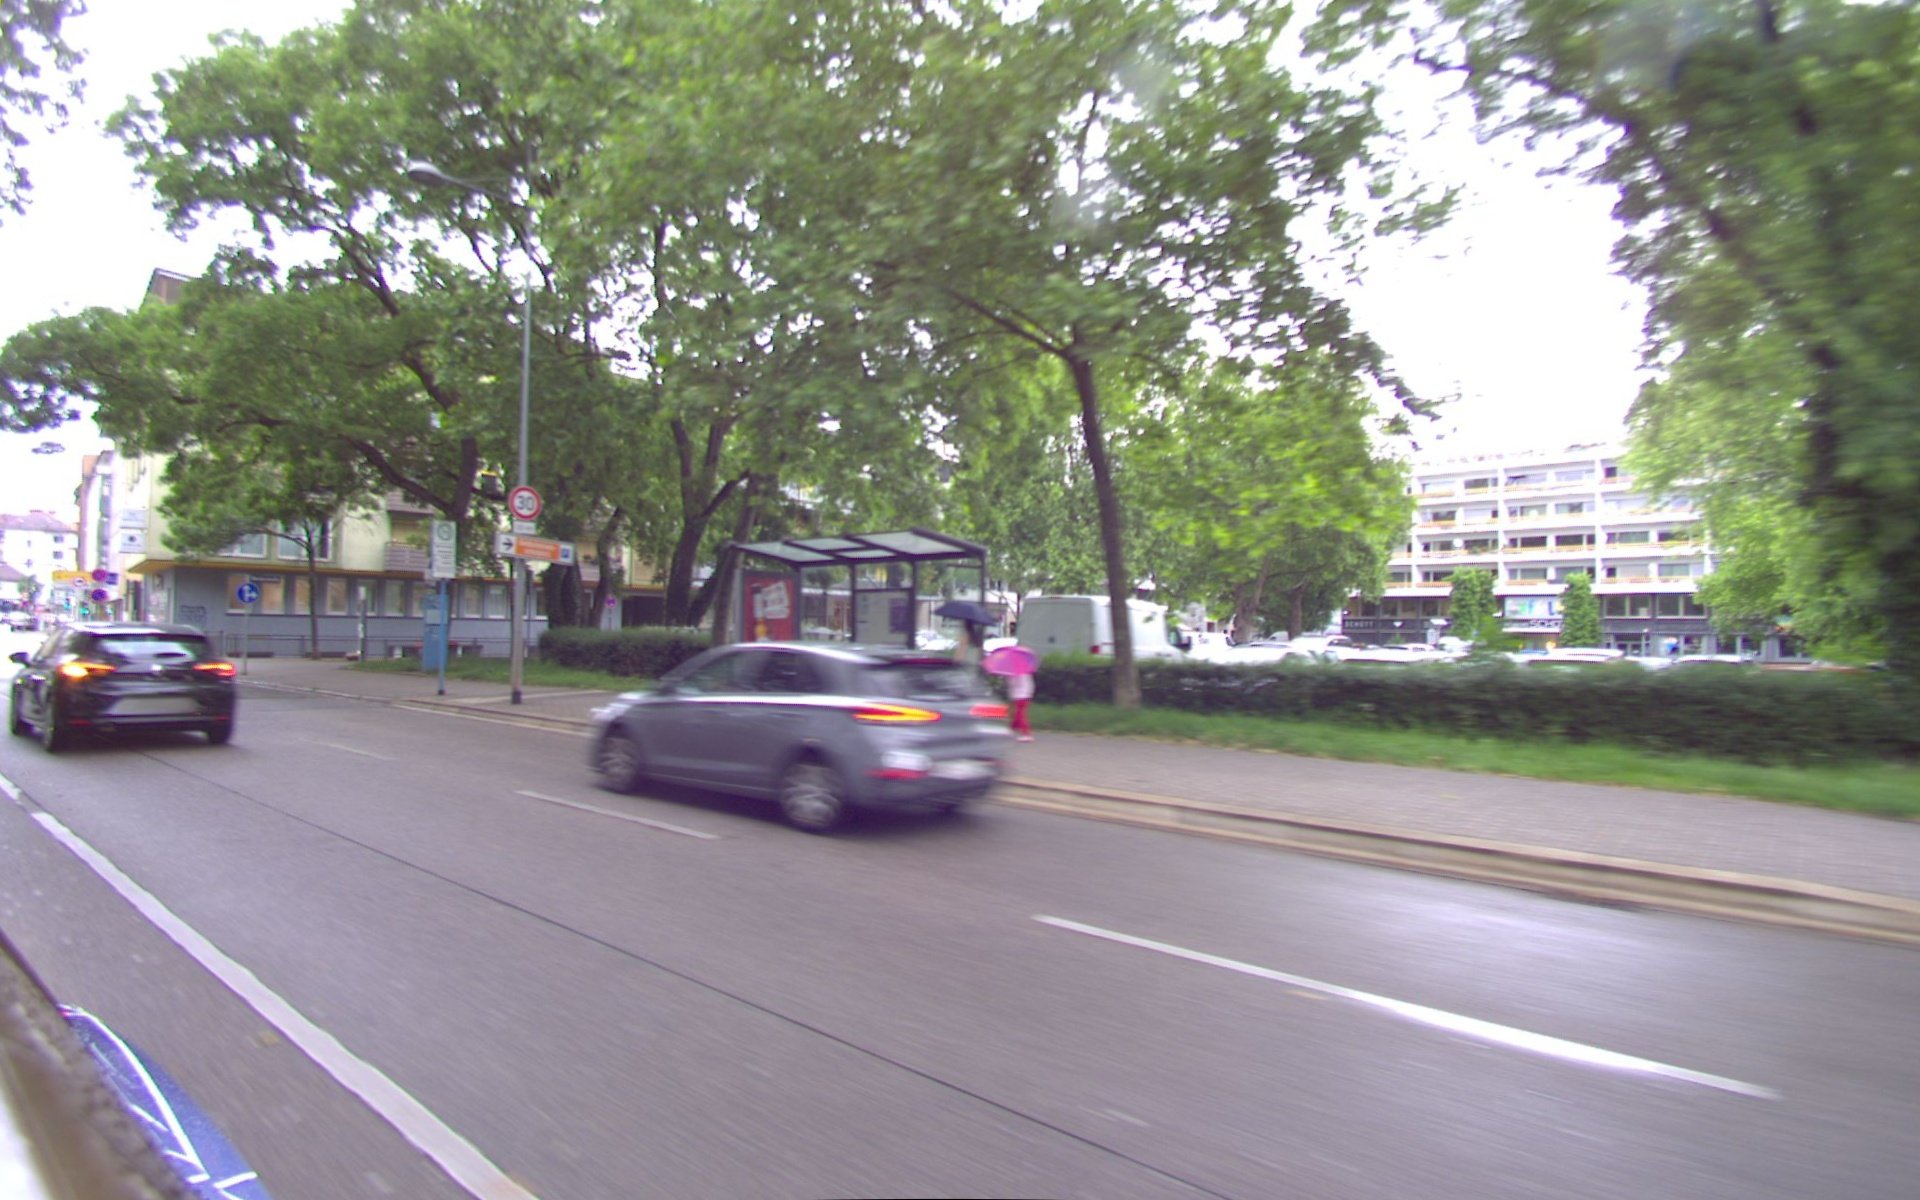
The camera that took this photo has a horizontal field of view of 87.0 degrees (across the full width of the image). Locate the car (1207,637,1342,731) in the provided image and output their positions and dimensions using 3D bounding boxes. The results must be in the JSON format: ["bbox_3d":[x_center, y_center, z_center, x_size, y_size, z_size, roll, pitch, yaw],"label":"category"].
[{"bbox_3d":[6.145,1.543,19.612,1.506,1.536,3.161,0,0,38],"label":"car"}]

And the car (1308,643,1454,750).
[{"bbox_3d":[7.094,1.521,16.912,1.506,1.536,3.161,0,-1,38],"label":"car"}]

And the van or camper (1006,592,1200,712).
[{"bbox_3d":[3.071,1.055,20.930,2.045,2.186,4.439,0,-3,38],"label":"van or camper"}]

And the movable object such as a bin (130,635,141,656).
[{"bbox_3d":[-42.611,2.353,52.303,0.409,1.037,0.354,4,-4,-42],"label":"movable object such as a bin"}]

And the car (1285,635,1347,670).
[{"bbox_3d":[15.767,2.323,44.729,1.604,1.439,3.275,-1,-3,39],"label":"car"}]

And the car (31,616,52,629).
[{"bbox_3d":[-124.922,3.117,137.661,4.001,1.670,1.842,-1,-4,44],"label":"car"}]

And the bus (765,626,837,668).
[{"bbox_3d":[-7.713,2.300,49.399,1.703,1.939,3.698,0,-3,23],"label":"bus"}]

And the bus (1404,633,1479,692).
[{"bbox_3d":[14.763,1.903,31.000,1.380,1.689,2.760,-1,-3,42],"label":"bus"}]

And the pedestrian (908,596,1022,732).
[{"bbox_3d":[0.066,0.835,13.868,1.208,1.755,0.982,-1,-1,40],"label":"pedestrian"}]

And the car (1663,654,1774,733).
[{"bbox_3d":[16.750,1.989,22.415,1.815,1.527,3.950,0,-3,37],"label":"car"}]

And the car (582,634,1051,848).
[{"bbox_3d":[-1.383,1.054,8.854,4.026,1.428,1.790,-1,-4,39],"label":"car"}]

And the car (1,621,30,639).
[{"bbox_3d":[-95.648,3.070,102.474,4.001,1.730,1.863,-1,-4,44],"label":"car"}]

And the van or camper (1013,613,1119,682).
[{"bbox_3d":[4.246,1.882,40.025,2.096,2.556,4.368,-1,-3,39],"label":"van or camper"}]

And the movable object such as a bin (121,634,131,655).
[{"bbox_3d":[-42.841,2.278,52.001,0.333,1.037,0.354,4,-4,-42],"label":"movable object such as a bin"}]

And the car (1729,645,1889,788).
[{"bbox_3d":[11.449,1.468,13.797,1.506,1.536,3.161,0,0,38],"label":"car"}]

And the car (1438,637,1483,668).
[{"bbox_3d":[27.592,2.859,55.776,1.638,1.536,3.161,0,0,38],"label":"car"}]

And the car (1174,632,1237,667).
[{"bbox_3d":[13.052,2.631,53.614,1.815,1.787,3.884,-1,-3,38],"label":"car"}]

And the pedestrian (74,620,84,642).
[{"bbox_3d":[-76.410,2.682,87.783,0.586,1.858,0.565,4,-4,-42],"label":"pedestrian"}]

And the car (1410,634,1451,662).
[{"bbox_3d":[29.120,2.940,62.552,1.638,1.536,3.161,-1,0,38],"label":"car"}]

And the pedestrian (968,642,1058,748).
[{"bbox_3d":[0.635,1.114,12.146,0.826,1.183,0.677,-1,-1,40],"label":"pedestrian"}]

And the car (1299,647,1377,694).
[{"bbox_3d":[12.439,2.301,33.225,1.391,1.446,3.227,-1,-4,41],"label":"car"}]

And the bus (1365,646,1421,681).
[{"bbox_3d":[20.472,2.968,47.796,1.604,1.551,3.385,-1,-3,39],"label":"bus"}]

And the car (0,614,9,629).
[{"bbox_3d":[-128.775,2.864,135.455,4.001,1.866,1.971,-1,-4,44],"label":"car"}]

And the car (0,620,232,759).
[{"bbox_3d":[-10.228,0.980,12.173,3.453,1.426,1.607,-1,-3,41],"label":"car"}]

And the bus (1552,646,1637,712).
[{"bbox_3d":[15.107,1.839,24.060,1.379,1.444,2.762,-1,-3,39],"label":"bus"}]

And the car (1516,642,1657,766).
[{"bbox_3d":[9.587,1.477,15.399,1.506,1.536,3.161,0,0,38],"label":"car"}]
